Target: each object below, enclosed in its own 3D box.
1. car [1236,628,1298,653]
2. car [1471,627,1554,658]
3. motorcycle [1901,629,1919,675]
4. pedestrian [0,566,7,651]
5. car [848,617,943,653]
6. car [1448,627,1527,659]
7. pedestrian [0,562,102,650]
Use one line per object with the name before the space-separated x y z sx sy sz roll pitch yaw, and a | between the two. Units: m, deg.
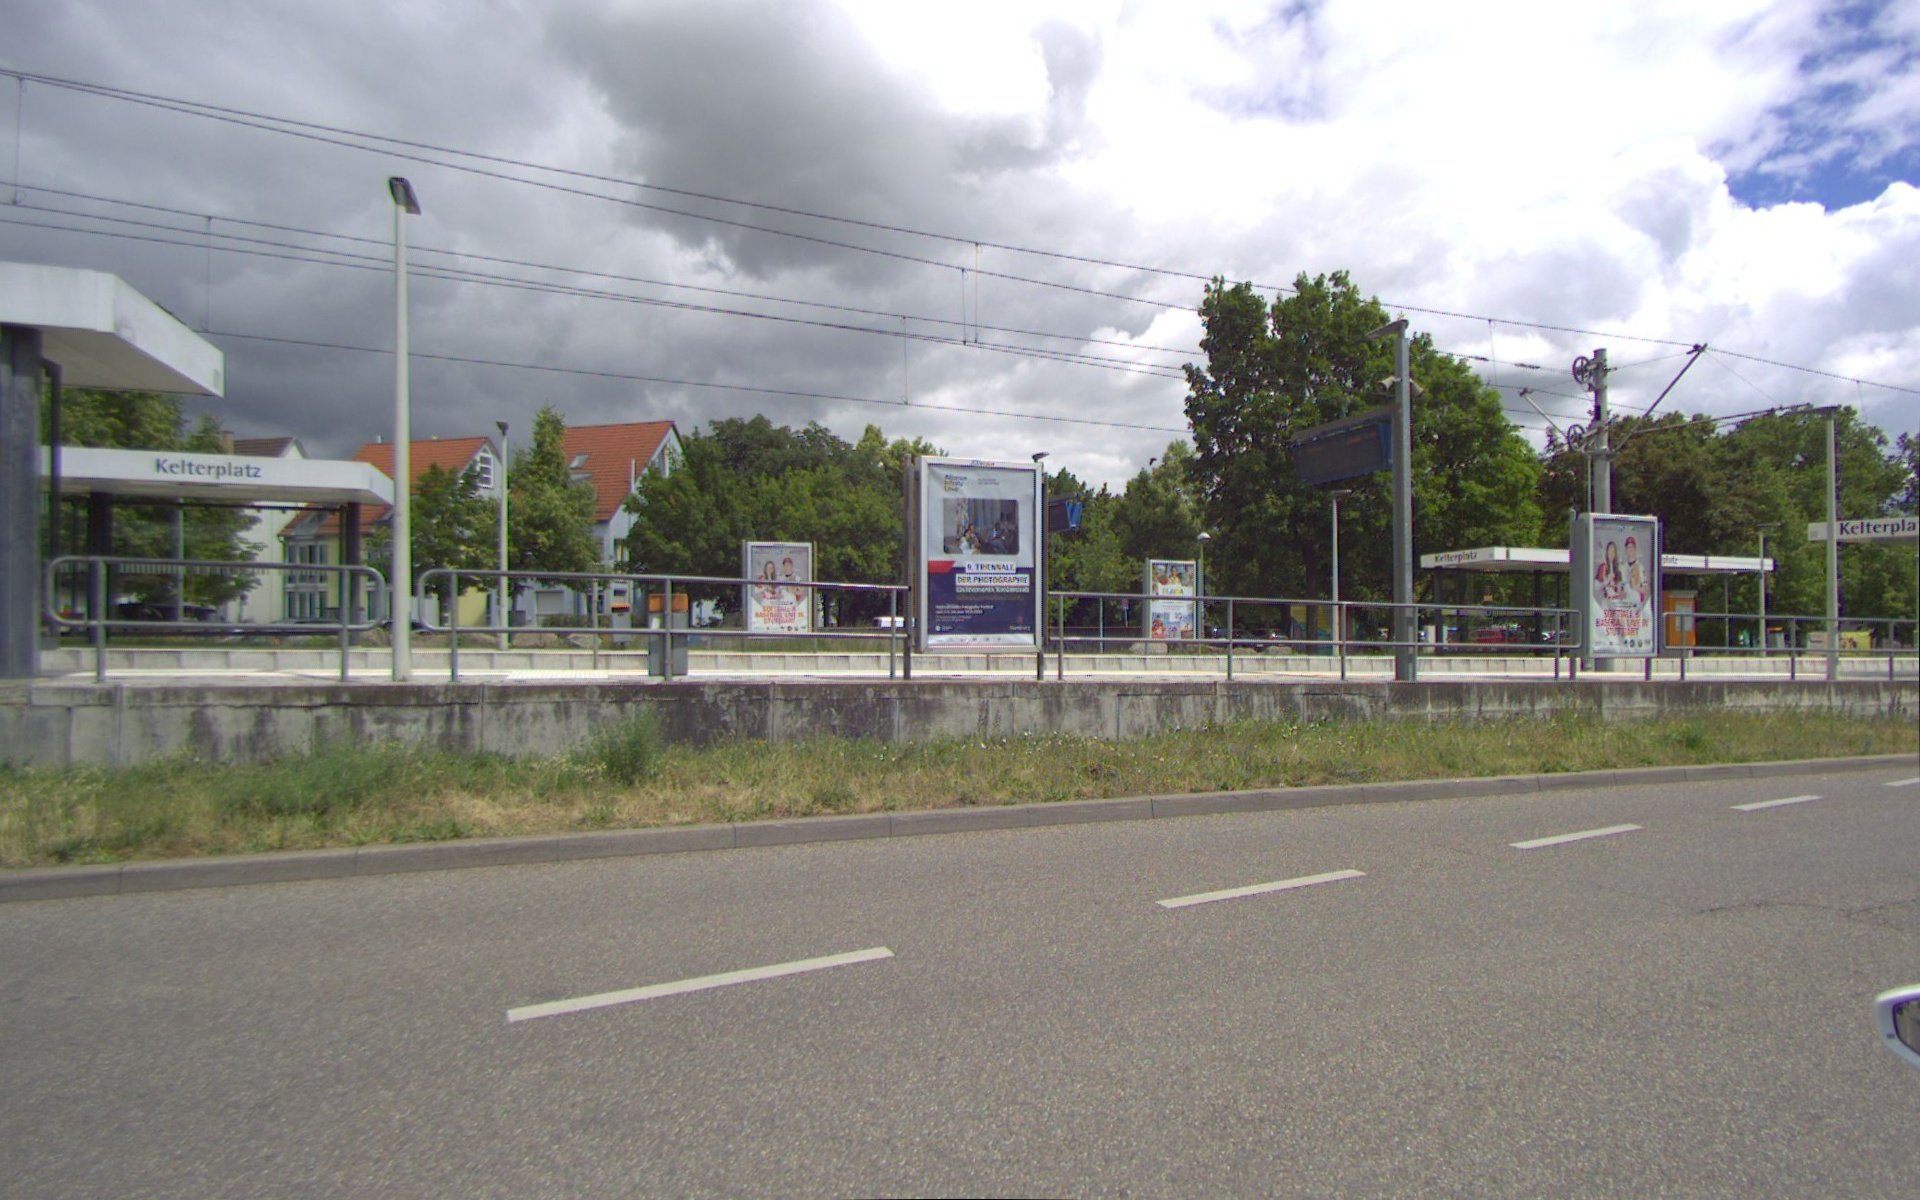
car | 20.412 2.677 66.879 1.942 1.511 3.809 0 -1 -25
car | 32.305 2.449 58.836 1.946 1.706 3.979 0 -1 -22
motorcycle | 43.477 2.335 45.022 1.946 2.040 0.835 1 -1 -8
pedestrian | -15.289 0.111 15.128 1.095 1.309 0.756 1 -2 -20
car | -3.207 1.698 49.614 4.339 1.701 1.940 0 -1 -20
car | 30.287 2.436 57.775 2.023 1.728 3.629 0 -1 -22
pedestrian | -14.187 0.110 15.591 1.095 1.309 0.756 1 -2 -20
